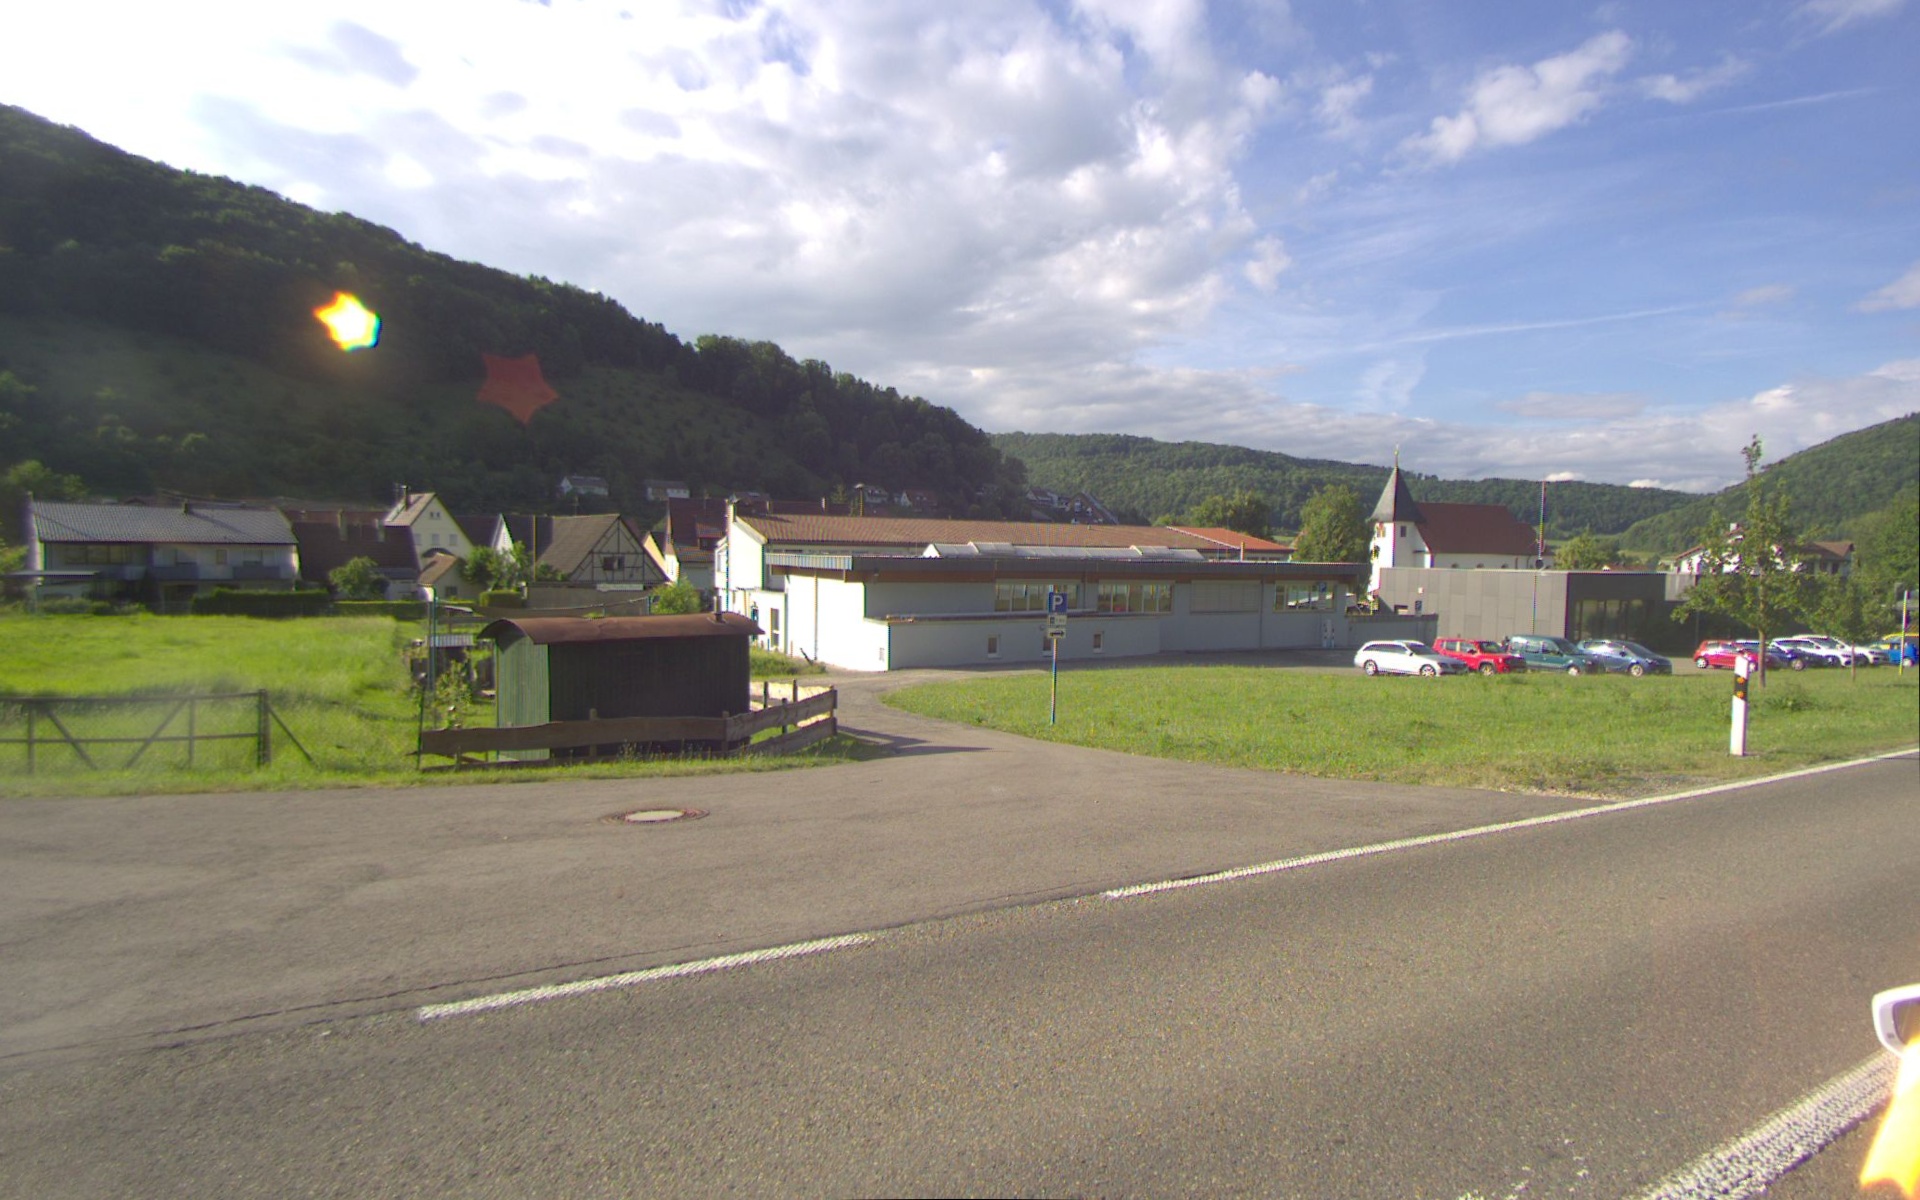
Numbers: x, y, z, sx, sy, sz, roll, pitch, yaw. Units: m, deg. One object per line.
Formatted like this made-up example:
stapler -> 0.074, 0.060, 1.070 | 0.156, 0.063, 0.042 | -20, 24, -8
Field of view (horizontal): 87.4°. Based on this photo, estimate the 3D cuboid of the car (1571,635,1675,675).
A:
car -> 31.297, 2.576, 47.518 | 1.709, 1.744, 3.806 | 1, -1, -26

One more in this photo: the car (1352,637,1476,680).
car -> 19.141, 2.421, 42.554 | 1.973, 1.610, 4.626 | 1, -1, -26

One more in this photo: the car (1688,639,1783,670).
car -> 40.185, 2.807, 52.118 | 1.626, 1.463, 3.614 | 1, -1, -25

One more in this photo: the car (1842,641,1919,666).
car -> 55.410, 3.193, 60.315 | 1.642, 1.392, 3.351 | 1, -1, -32

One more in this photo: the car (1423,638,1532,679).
car -> 22.160, 2.473, 43.151 | 1.732, 1.600, 3.907 | 1, -1, -26

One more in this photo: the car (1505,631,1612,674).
car -> 27.124, 2.356, 45.639 | 1.734, 1.745, 3.846 | 1, 0, -28

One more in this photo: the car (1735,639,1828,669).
car -> 44.492, 2.900, 54.491 | 1.575, 1.424, 3.614 | 0, -1, -25

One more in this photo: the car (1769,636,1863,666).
car -> 47.516, 2.795, 55.840 | 1.575, 1.513, 3.656 | 1, -1, -25

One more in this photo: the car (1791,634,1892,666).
car -> 50.380, 2.823, 57.490 | 1.575, 1.695, 4.065 | 2, -1, -25

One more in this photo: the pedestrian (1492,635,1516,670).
pedestrian -> 26.960, 2.597, 49.804 | 0.699, 1.716, 0.788 | 1, 1, -39

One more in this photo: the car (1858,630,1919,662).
car -> 57.940, 2.796, 61.147 | 1.816, 1.839, 4.540 | 1, -1, -25
